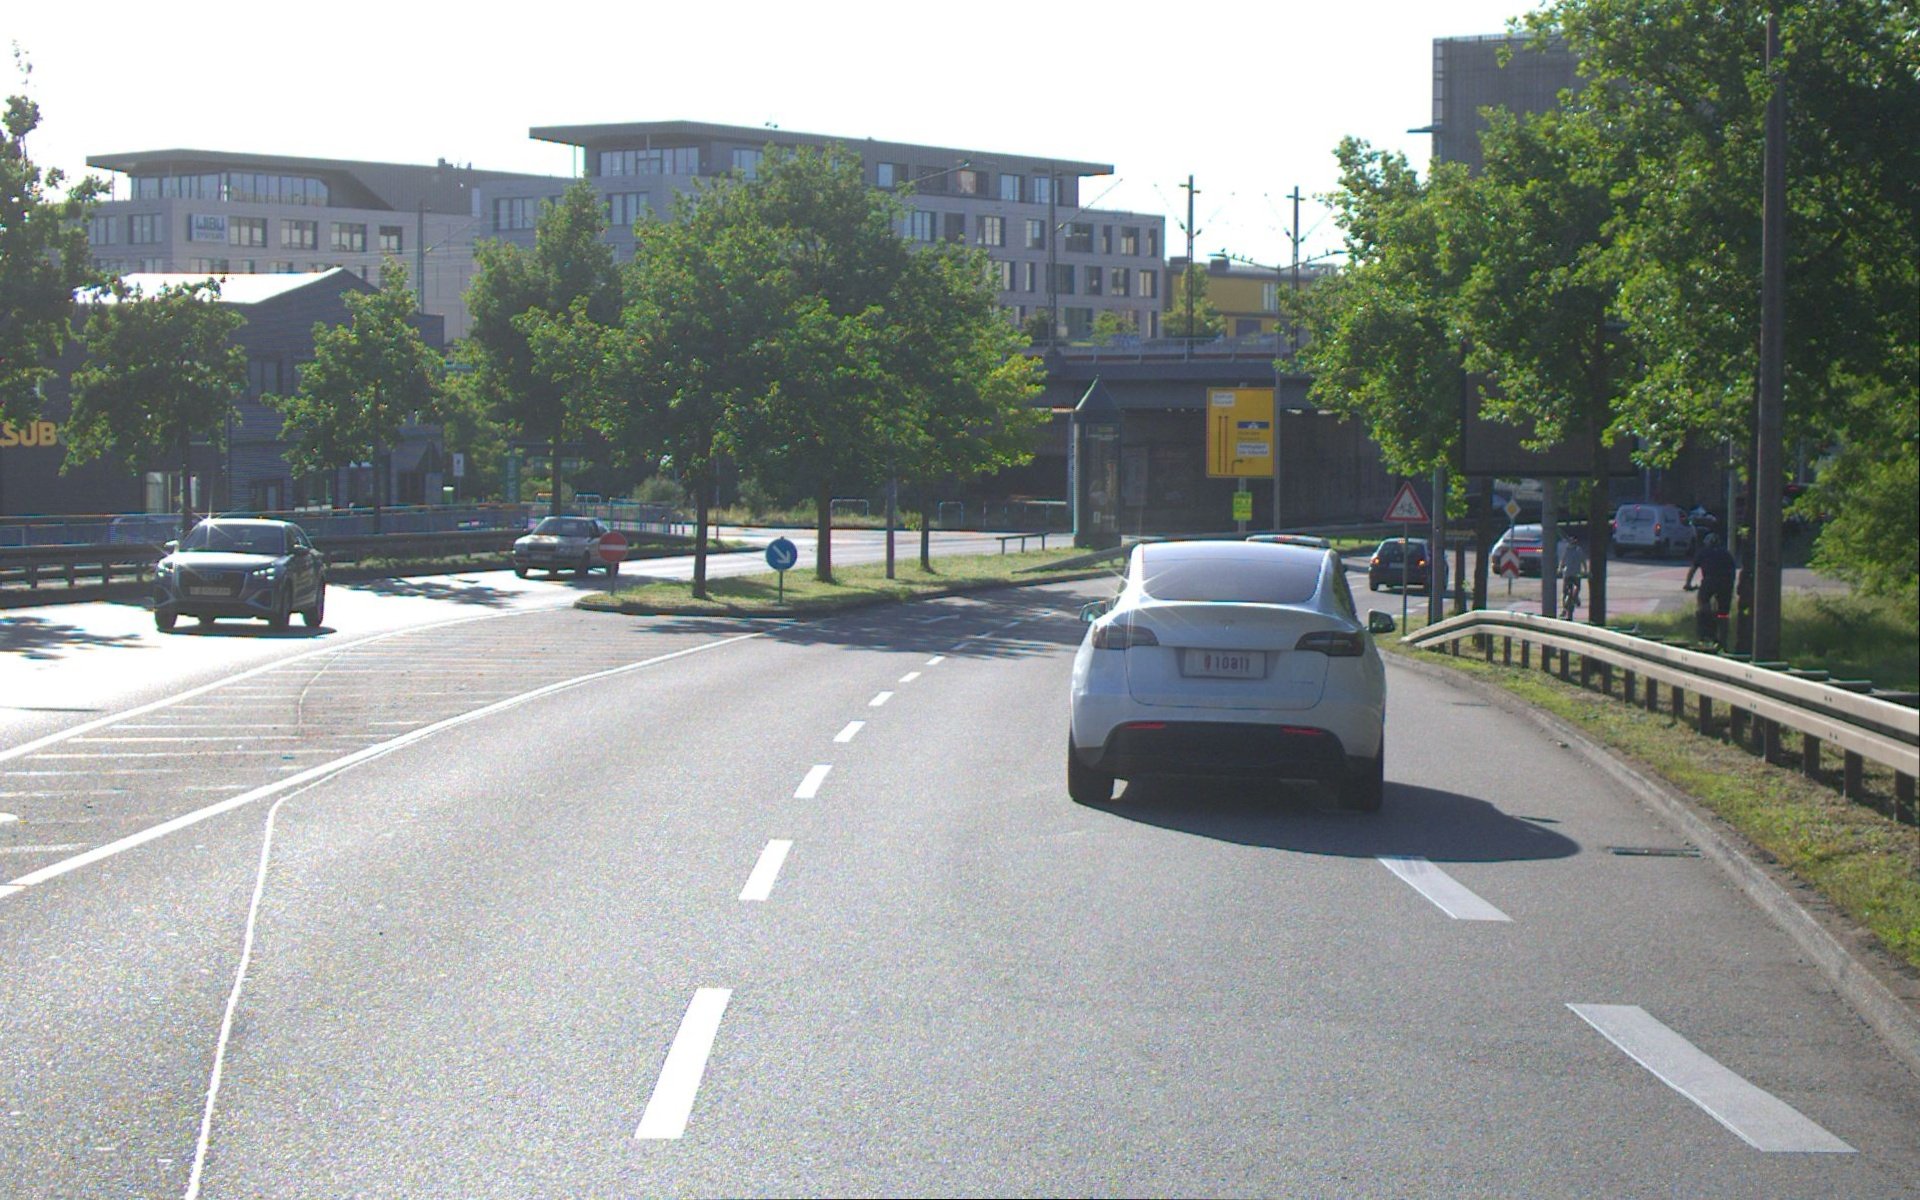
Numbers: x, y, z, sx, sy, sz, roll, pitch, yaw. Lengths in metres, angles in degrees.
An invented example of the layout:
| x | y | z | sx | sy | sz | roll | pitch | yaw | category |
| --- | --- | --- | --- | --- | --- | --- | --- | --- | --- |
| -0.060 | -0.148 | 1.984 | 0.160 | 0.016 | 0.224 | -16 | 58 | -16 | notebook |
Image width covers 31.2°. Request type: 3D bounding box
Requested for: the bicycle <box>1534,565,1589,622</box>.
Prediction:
| x | y | z | sx | sy | sz | roll | pitch | yaw | category |
| --- | --- | --- | --- | --- | --- | --- | --- | --- | --- |
| 12.513 | -0.152 | 71.463 | 0.744 | 1.108 | 2.449 | -1 | 2 | 19 | bicycle |

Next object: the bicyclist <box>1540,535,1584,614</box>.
| x | y | z | sx | sy | sz | roll | pitch | yaw | category |
| --- | --- | --- | --- | --- | --- | --- | --- | --- | --- |
| 12.519 | -0.543 | 71.529 | 0.746 | 1.613 | 0.912 | -1 | 1 | 19 | bicyclist |

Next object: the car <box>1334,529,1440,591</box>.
| x | y | z | sx | sy | sz | roll | pitch | yaw | category |
| --- | --- | --- | --- | --- | --- | --- | --- | --- | --- |
| 11.394 | -1.088 | 91.663 | 1.607 | 1.429 | 3.673 | 3 | 4 | 27 | car |

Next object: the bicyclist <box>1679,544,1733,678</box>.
| x | y | z | sx | sy | sz | roll | pitch | yaw | category |
| --- | --- | --- | --- | --- | --- | --- | --- | --- | --- |
| 10.057 | 0.139 | 46.333 | 0.675 | 1.770 | 0.948 | -1 | 1 | 14 | bicyclist |

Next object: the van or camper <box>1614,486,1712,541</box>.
| x | y | z | sx | sy | sz | roll | pitch | yaw | category |
| --- | --- | --- | --- | --- | --- | --- | --- | --- | --- |
| 24.526 | -3.023 | 119.832 | 1.829 | 1.784 | 4.537 | 3 | 4 | 32 | van or camper |

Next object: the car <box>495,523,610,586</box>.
| x | y | z | sx | sy | sz | roll | pitch | yaw | category |
| --- | --- | --- | --- | --- | --- | --- | --- | --- | --- |
| -9.562 | -1.100 | 80.993 | 1.730 | 1.381 | 4.496 | 2 | 1 | 5 | car |

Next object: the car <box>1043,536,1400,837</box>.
| x | y | z | sx | sy | sz | roll | pitch | yaw | category |
| --- | --- | --- | --- | --- | --- | --- | --- | --- | --- |
| 1.779 | 0.453 | 22.020 | 1.915 | 1.635 | 4.409 | 2 | 2 | 9 | car |

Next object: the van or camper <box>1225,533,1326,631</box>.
| x | y | z | sx | sy | sz | roll | pitch | yaw | category |
| --- | --- | --- | --- | --- | --- | --- | --- | --- | --- |
| 6.460 | -0.406 | 70.609 | 1.959 | 1.877 | 4.879 | 1 | 1 | 5 | van or camper |

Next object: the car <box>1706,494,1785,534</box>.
| x | y | z | sx | sy | sz | roll | pitch | yaw | category |
| --- | --- | --- | --- | --- | --- | --- | --- | --- | --- |
| 31.642 | -3.493 | 138.447 | 1.712 | 1.517 | 3.735 | 3 | 4 | 36 | car |

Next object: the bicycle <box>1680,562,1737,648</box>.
| x | y | z | sx | sy | sz | roll | pitch | yaw | category |
| --- | --- | --- | --- | --- | --- | --- | --- | --- | --- |
| 10.123 | 0.054 | 46.481 | 0.695 | 1.091 | 2.116 | -1 | 2 | 14 | bicycle |

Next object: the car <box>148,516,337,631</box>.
| x | y | z | sx | sy | sz | roll | pitch | yaw | category |
| --- | --- | --- | --- | --- | --- | --- | --- | --- | --- |
| -10.003 | -0.396 | 48.209 | 1.762 | 1.484 | 4.277 | 2 | 1 | -1 | car |

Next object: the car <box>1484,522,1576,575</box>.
| x | y | z | sx | sy | sz | roll | pitch | yaw | category |
| --- | --- | --- | --- | --- | --- | --- | --- | --- | --- |
| 17.529 | -1.599 | 105.641 | 1.765 | 1.470 | 4.284 | 2 | 3 | 23 | car |
